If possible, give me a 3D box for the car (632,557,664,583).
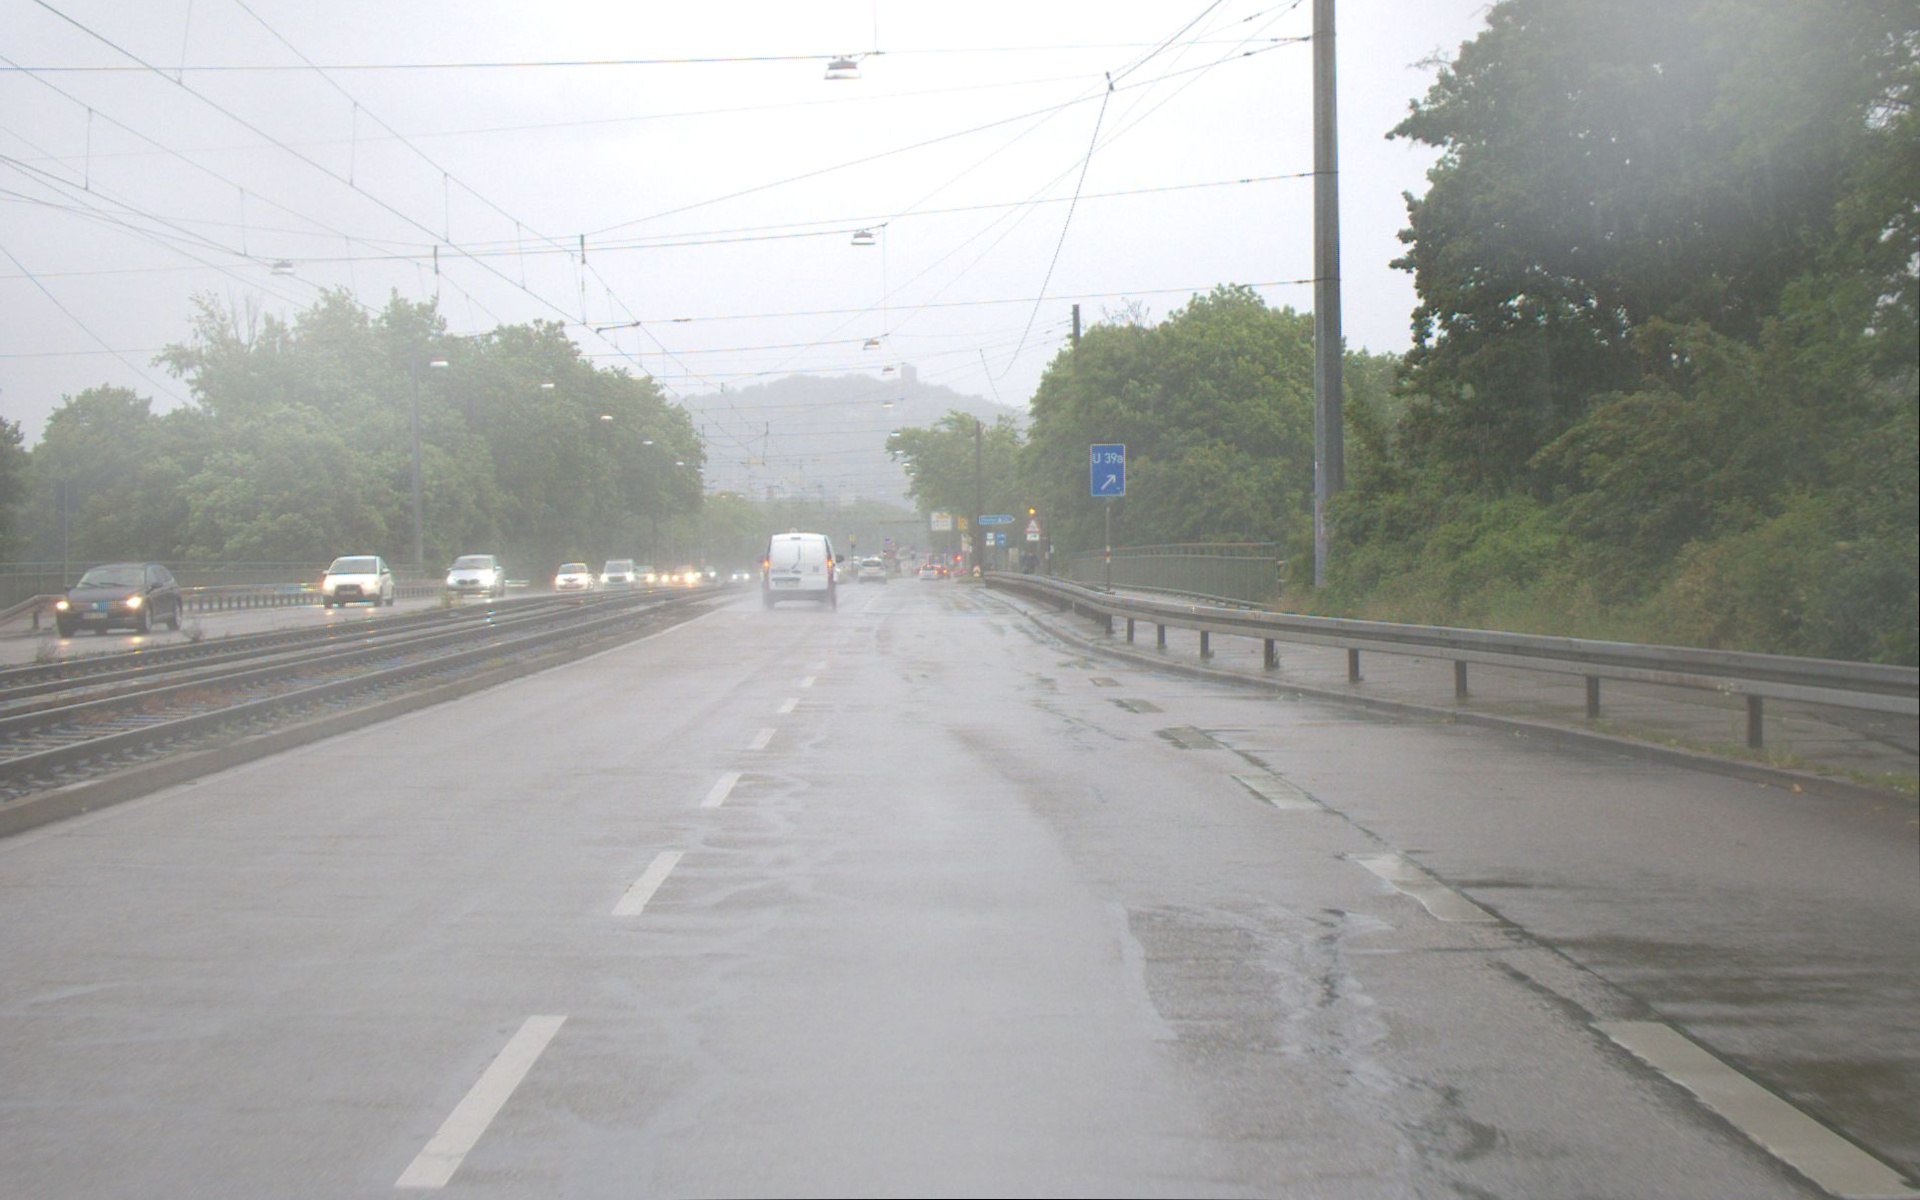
[{"bbox_3d":[-19.673,-1.924,216.691,1.743,1.503,3.700,1,2,-1],"label":"car"}]

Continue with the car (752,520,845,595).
[{"bbox_3d":[-3.874,-1.050,82.921,1.989,1.678,3.740,1,2,1],"label":"car"}]

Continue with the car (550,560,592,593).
[{"bbox_3d":[-19.349,-1.196,170.981,1.743,1.503,3.700,1,2,-1],"label":"car"}]

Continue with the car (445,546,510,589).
[{"bbox_3d":[-17.955,-1.232,128.077,1.797,1.448,4.195,1,2,0],"label":"car"}]

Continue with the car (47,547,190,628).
[{"bbox_3d":[-17.596,-0.290,72.099,1.689,1.513,4.611,1,2,2],"label":"car"}]

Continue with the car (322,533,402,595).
[{"bbox_3d":[-17.695,-1.080,101.884,1.754,1.705,4.001,1,2,-1],"label":"car"}]

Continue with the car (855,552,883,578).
[{"bbox_3d":[-5.780,-2.243,219.675,1.743,1.503,3.700,1,2,-1],"label":"car"}]
